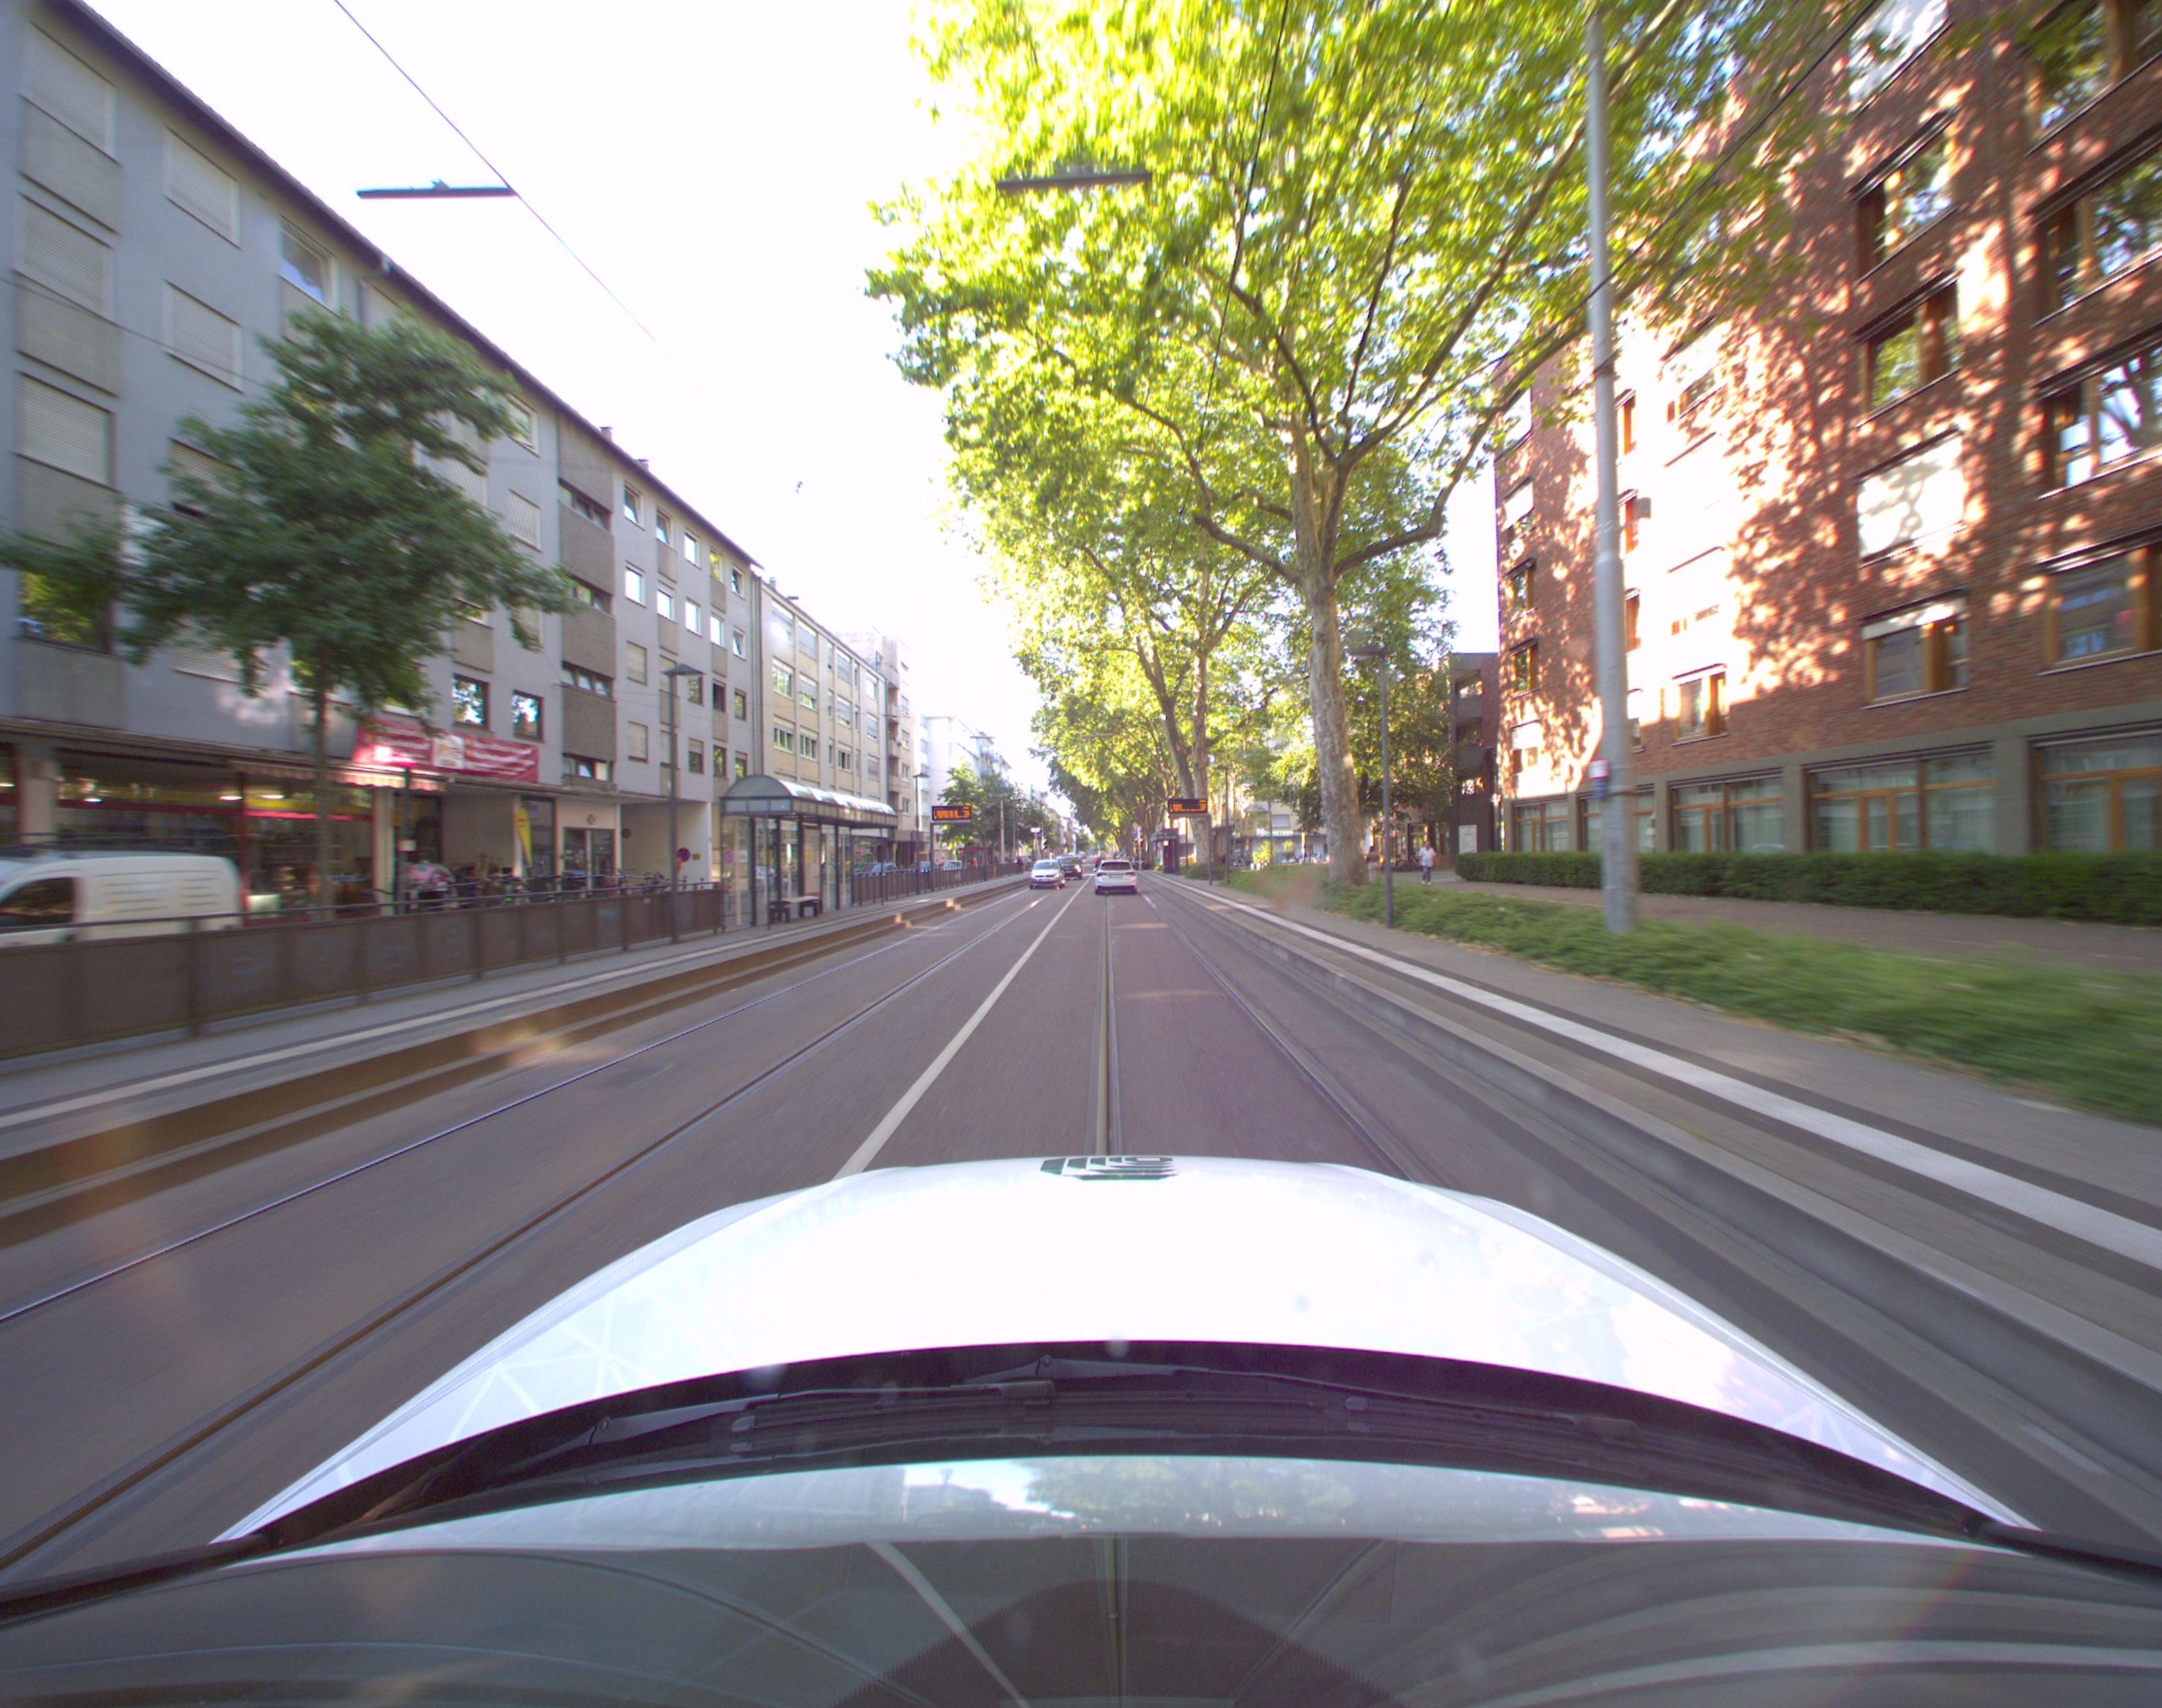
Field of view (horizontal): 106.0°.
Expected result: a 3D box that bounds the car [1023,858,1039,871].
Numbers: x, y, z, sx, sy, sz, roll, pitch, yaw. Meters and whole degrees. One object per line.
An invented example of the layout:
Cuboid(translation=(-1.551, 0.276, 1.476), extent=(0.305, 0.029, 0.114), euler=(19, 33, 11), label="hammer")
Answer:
Cuboid(translation=(-6.108, 1.231, 99.729), extent=(1.671, 1.548, 4.001), euler=(1, 0, 2), label="car")

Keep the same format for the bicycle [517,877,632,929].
Cuboid(translation=(-11.685, 1.121, 18.814), extent=(2.244, 1.074, 0.637), euler=(2, 0, 2), label="bicycle")

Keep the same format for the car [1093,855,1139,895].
Cuboid(translation=(1.443, 0.825, 34.256), extent=(1.781, 1.513, 4.001), euler=(-2, 0, 2), label="car")

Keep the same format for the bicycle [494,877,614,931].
Cuboid(translation=(-11.734, 1.102, 18.166), extent=(2.244, 1.074, 0.637), euler=(2, 0, 2), label="bicycle")

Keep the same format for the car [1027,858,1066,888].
Cuboid(translation=(-1.765, 0.935, 42.355), extent=(1.687, 1.419, 4.002), euler=(-2, 0, 2), label="car")

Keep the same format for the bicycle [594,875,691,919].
Cuboid(translation=(-11.732, 1.134, 21.827), extent=(2.244, 1.074, 0.637), euler=(2, 0, 2), label="bicycle")

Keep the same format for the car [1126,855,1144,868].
Cuboid(translation=(6.266, 0.844, 94.697), extent=(1.986, 1.453, 4.001), euler=(-2, 0, 2), label="car")

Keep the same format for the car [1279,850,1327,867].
Cuboid(translation=(20.579, 0.407, 75.563), extent=(3.970, 1.372, 1.869), euler=(-2, 0, 3), label="car")

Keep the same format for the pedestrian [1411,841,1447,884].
Cuboid(translation=(13.531, 0.338, 31.676), extent=(0.968, 1.623, 0.888), euler=(-2, 0, 1), label="pedestrian")

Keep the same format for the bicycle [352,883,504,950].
Cuboid(translation=(-11.784, 1.115, 14.732), extent=(2.244, 1.074, 0.637), euler=(2, 0, 2), label="bicycle")

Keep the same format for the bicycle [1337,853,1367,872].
Cuboid(translation=(15.423, 0.474, 46.419), extent=(1.552, 1.037, 0.482), euler=(-2, 0, 23), label="bicycle")

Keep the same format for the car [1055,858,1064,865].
Cuboid(translation=(-4.841, 1.631, 183.645), extent=(1.781, 1.513, 4.001), euler=(-2, 0, 2), label="car")

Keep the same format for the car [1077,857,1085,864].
Cuboid(translation=(0.069, 1.428, 189.716), extent=(1.781, 1.513, 4.001), euler=(-2, 0, 2), label="car")

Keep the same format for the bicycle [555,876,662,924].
Cuboid(translation=(-11.636, 1.125, 20.077), extent=(2.244, 1.074, 0.637), euler=(2, 0, 2), label="bicycle")

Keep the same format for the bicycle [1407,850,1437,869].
Cuboid(translation=(19.427, 0.340, 46.439), extent=(1.552, 1.037, 0.482), euler=(-2, 0, 24), label="bicycle")

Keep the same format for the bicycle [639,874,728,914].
Cuboid(translation=(-11.528, 1.150, 23.654), extent=(2.244, 1.074, 0.637), euler=(2, 0, 2), label="bicycle")

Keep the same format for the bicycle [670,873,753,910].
Cuboid(translation=(-11.483, 1.156, 25.333), extent=(2.244, 1.074, 0.637), euler=(2, 0, 2), label="bicycle")

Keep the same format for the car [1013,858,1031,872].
Cuboid(translation=(-6.584, 1.209, 91.222), extent=(1.671, 1.548, 4.001), euler=(1, 0, 2), label="car")

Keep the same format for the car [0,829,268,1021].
Cuboid(translation=(-11.802, 0.742, 8.910), extent=(1.682, 1.940, 4.001), euler=(-2, 0, 2), label="car")

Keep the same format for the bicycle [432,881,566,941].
Cuboid(translation=(-11.686, 1.132, 16.379), extent=(2.244, 1.074, 0.637), euler=(2, 0, 2), label="bicycle")

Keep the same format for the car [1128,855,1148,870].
Cuboid(translation=(6.292, 0.923, 89.606), extent=(1.986, 1.453, 4.001), euler=(-2, 0, 2), label="car")

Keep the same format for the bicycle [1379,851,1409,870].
Cuboid(translation=(17.826, 0.375, 46.452), extent=(1.552, 1.037, 0.482), euler=(-2, 0, 23), label="bicycle")

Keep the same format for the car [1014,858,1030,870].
Cuboid(translation=(-7.716, 1.296, 107.518), extent=(1.671, 1.548, 4.001), euler=(1, 0, 2), label="car")

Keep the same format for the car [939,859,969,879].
Cuboid(translation=(-10.213, 1.189, 65.746), extent=(1.671, 1.548, 4.001), euler=(1, 0, 2), label="car")

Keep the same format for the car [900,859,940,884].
Cuboid(translation=(-10.573, 1.137, 53.684), extent=(1.671, 1.548, 4.001), euler=(1, 0, 2), label="car")

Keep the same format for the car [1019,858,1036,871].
Cuboid(translation=(-6.260, 1.218, 95.536), extent=(1.671, 1.548, 4.001), euler=(1, 0, 2), label="car")

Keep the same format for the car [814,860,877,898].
Cuboid(translation=(-10.650, 1.088, 37.104), extent=(1.587, 1.548, 4.002), euler=(1, 0, 2), label="car")

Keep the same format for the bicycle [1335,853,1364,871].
Cuboid(translation=(15.619, 0.474, 47.331), extent=(1.552, 1.037, 0.507), euler=(-2, 0, 23), label="bicycle")

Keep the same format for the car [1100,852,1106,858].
Cuboid(translation=(6.493, 0.249, 240.912), extent=(1.859, 1.892, 4.001), euler=(-2, 0, 2), label="car")

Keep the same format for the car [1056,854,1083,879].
Cuboid(translation=(-0.798, 0.862, 57.125), extent=(1.687, 1.644, 4.002), euler=(-2, 0, 2), label="car")

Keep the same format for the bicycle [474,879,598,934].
Cuboid(translation=(-11.746, 1.126, 17.585), extent=(2.244, 1.074, 0.637), euler=(2, 0, 2), label="bicycle")

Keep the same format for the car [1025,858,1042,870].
Cuboid(translation=(-5.999, 1.247, 103.903), extent=(1.787, 1.510, 4.001), euler=(1, 0, 1), label="car")

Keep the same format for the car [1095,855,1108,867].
Cuboid(translation=(2.812, 0.978, 111.046), extent=(1.781, 1.513, 4.001), euler=(-2, 0, 2), label="car")

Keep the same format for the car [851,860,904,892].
Cuboid(translation=(-10.519, 1.100, 42.314), extent=(1.587, 1.548, 4.002), euler=(1, 0, 2), label="car")

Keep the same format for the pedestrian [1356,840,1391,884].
Cuboid(translation=(11.047, 0.308, 30.772), extent=(0.968, 1.623, 0.888), euler=(-2, 0, 1), label="pedestrian")
